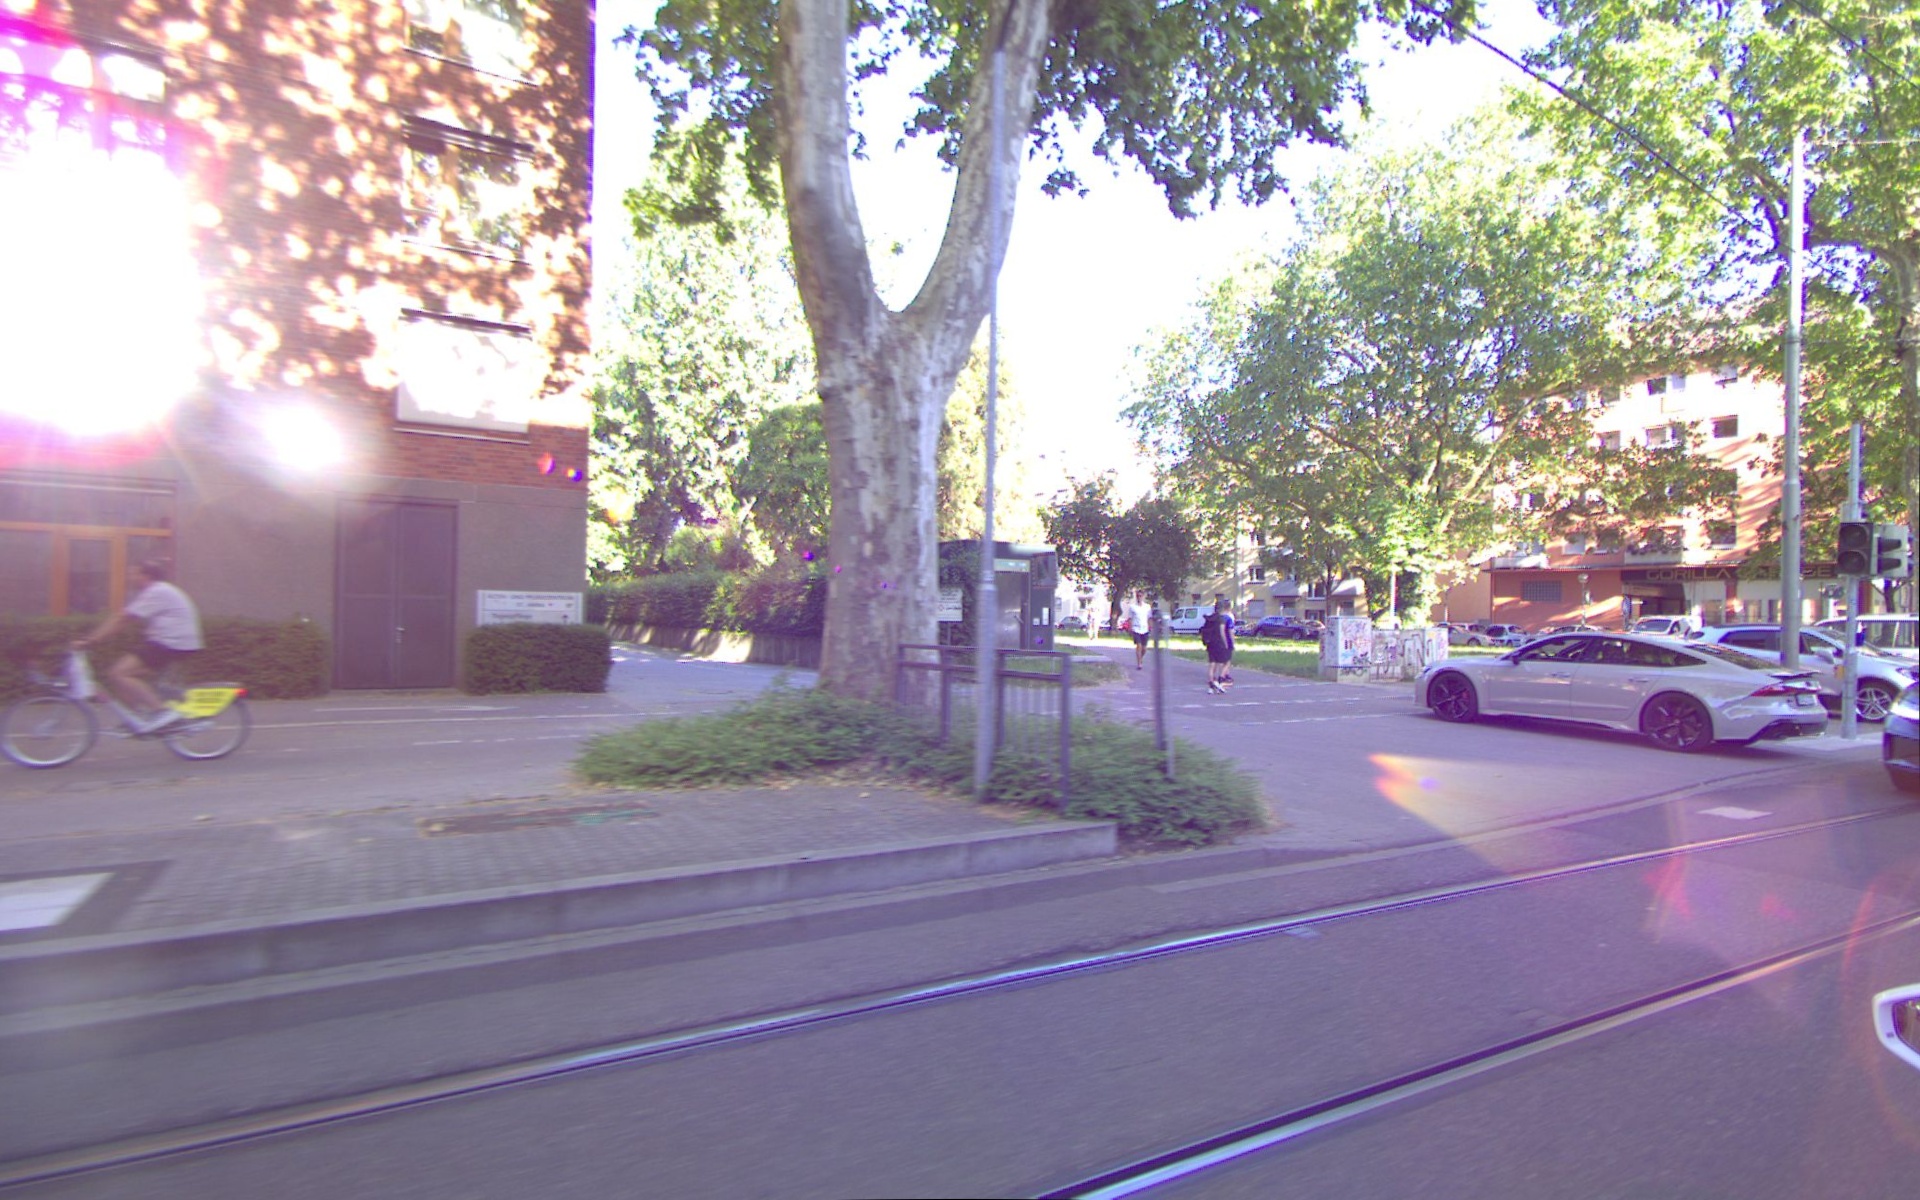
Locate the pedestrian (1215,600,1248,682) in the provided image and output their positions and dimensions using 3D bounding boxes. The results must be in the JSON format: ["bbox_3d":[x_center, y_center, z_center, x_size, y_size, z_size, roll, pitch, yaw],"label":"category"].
[{"bbox_3d":[5.847,0.879,21.635,0.523,1.728,0.591,2,0,28],"label":"pedestrian"}]

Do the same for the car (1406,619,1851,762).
[{"bbox_3d":[8.875,1.084,13.841,1.933,1.479,4.739,2,0,-31],"label":"car"}]

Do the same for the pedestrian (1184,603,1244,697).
[{"bbox_3d":[4.727,0.915,18.714,0.770,1.695,0.706,2,0,-31],"label":"pedestrian"}]

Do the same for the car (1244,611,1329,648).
[{"bbox_3d":[20.087,1.803,62.032,1.982,2.040,4.695,2,0,-37],"label":"car"}]

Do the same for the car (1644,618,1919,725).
[{"bbox_3d":[15.592,1.234,18.864,1.881,1.668,4.117,2,0,-31],"label":"car"}]

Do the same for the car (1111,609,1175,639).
[{"bbox_3d":[13.409,1.766,73.832,1.979,2.040,4.701,2,0,-33],"label":"car"}]

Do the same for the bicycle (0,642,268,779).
[{"bbox_3d":[-7.272,0.936,8.875,1.817,1.078,0.712,2,0,-29],"label":"bicycle"}]

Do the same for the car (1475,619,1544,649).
[{"bbox_3d":[32.142,2.005,58.700,4.444,1.639,1.929,2,0,-38],"label":"car"}]

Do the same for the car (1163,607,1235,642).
[{"bbox_3d":[16.360,1.684,68.913,2.022,2.227,4.702,2,0,-33],"label":"car"}]

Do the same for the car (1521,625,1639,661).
[{"bbox_3d":[29.428,1.998,47.774,1.808,1.469,4.434,2,0,-38],"label":"car"}]

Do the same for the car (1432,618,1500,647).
[{"bbox_3d":[30.639,1.978,60.764,4.444,1.639,1.929,2,0,-38],"label":"car"}]

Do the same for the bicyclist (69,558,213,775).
[{"bbox_3d":[-7.216,0.560,8.895,0.829,1.811,0.697,2,0,-29],"label":"bicyclist"}]

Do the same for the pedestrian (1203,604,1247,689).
[{"bbox_3d":[5.398,0.933,20.460,0.685,1.681,0.561,2,0,33],"label":"pedestrian"}]

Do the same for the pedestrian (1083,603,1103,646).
[{"bbox_3d":[5.346,0.970,40.456,0.698,1.695,0.779,2,0,2],"label":"pedestrian"}]

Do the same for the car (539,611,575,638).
[{"bbox_3d":[-23.511,1.434,58.558,1.539,1.444,3.611,2,0,-29],"label":"car"}]

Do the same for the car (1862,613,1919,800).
[{"bbox_3d":[10.629,1.001,9.613,4.273,1.659,1.898,2,-2,-32],"label":"car"}]

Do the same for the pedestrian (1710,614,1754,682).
[{"bbox_3d":[21.267,1.305,27.676,0.741,1.833,0.642,2,0,-25],"label":"pedestrian"}]

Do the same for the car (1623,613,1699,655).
[{"bbox_3d":[35.937,1.735,51.427,4.880,2.030,1.977,2,0,-40],"label":"car"}]

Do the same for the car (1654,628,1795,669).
[{"bbox_3d":[32.866,2.057,43.295,1.842,1.509,4.496,2,0,-35],"label":"car"}]

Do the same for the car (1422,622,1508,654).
[{"bbox_3d":[26.339,1.968,52.503,1.672,1.469,3.683,2,0,-35],"label":"car"}]

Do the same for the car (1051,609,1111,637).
[{"bbox_3d":[9.539,1.787,79.210,1.982,2.040,4.695,2,0,-37],"label":"car"}]

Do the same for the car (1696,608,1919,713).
[{"bbox_3d":[17.726,1.156,20.017,1.917,1.858,4.546,2,0,-31],"label":"car"}]

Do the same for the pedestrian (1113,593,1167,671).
[{"bbox_3d":[4.150,0.729,23.181,0.901,1.760,0.843,2,0,-16],"label":"pedestrian"}]
